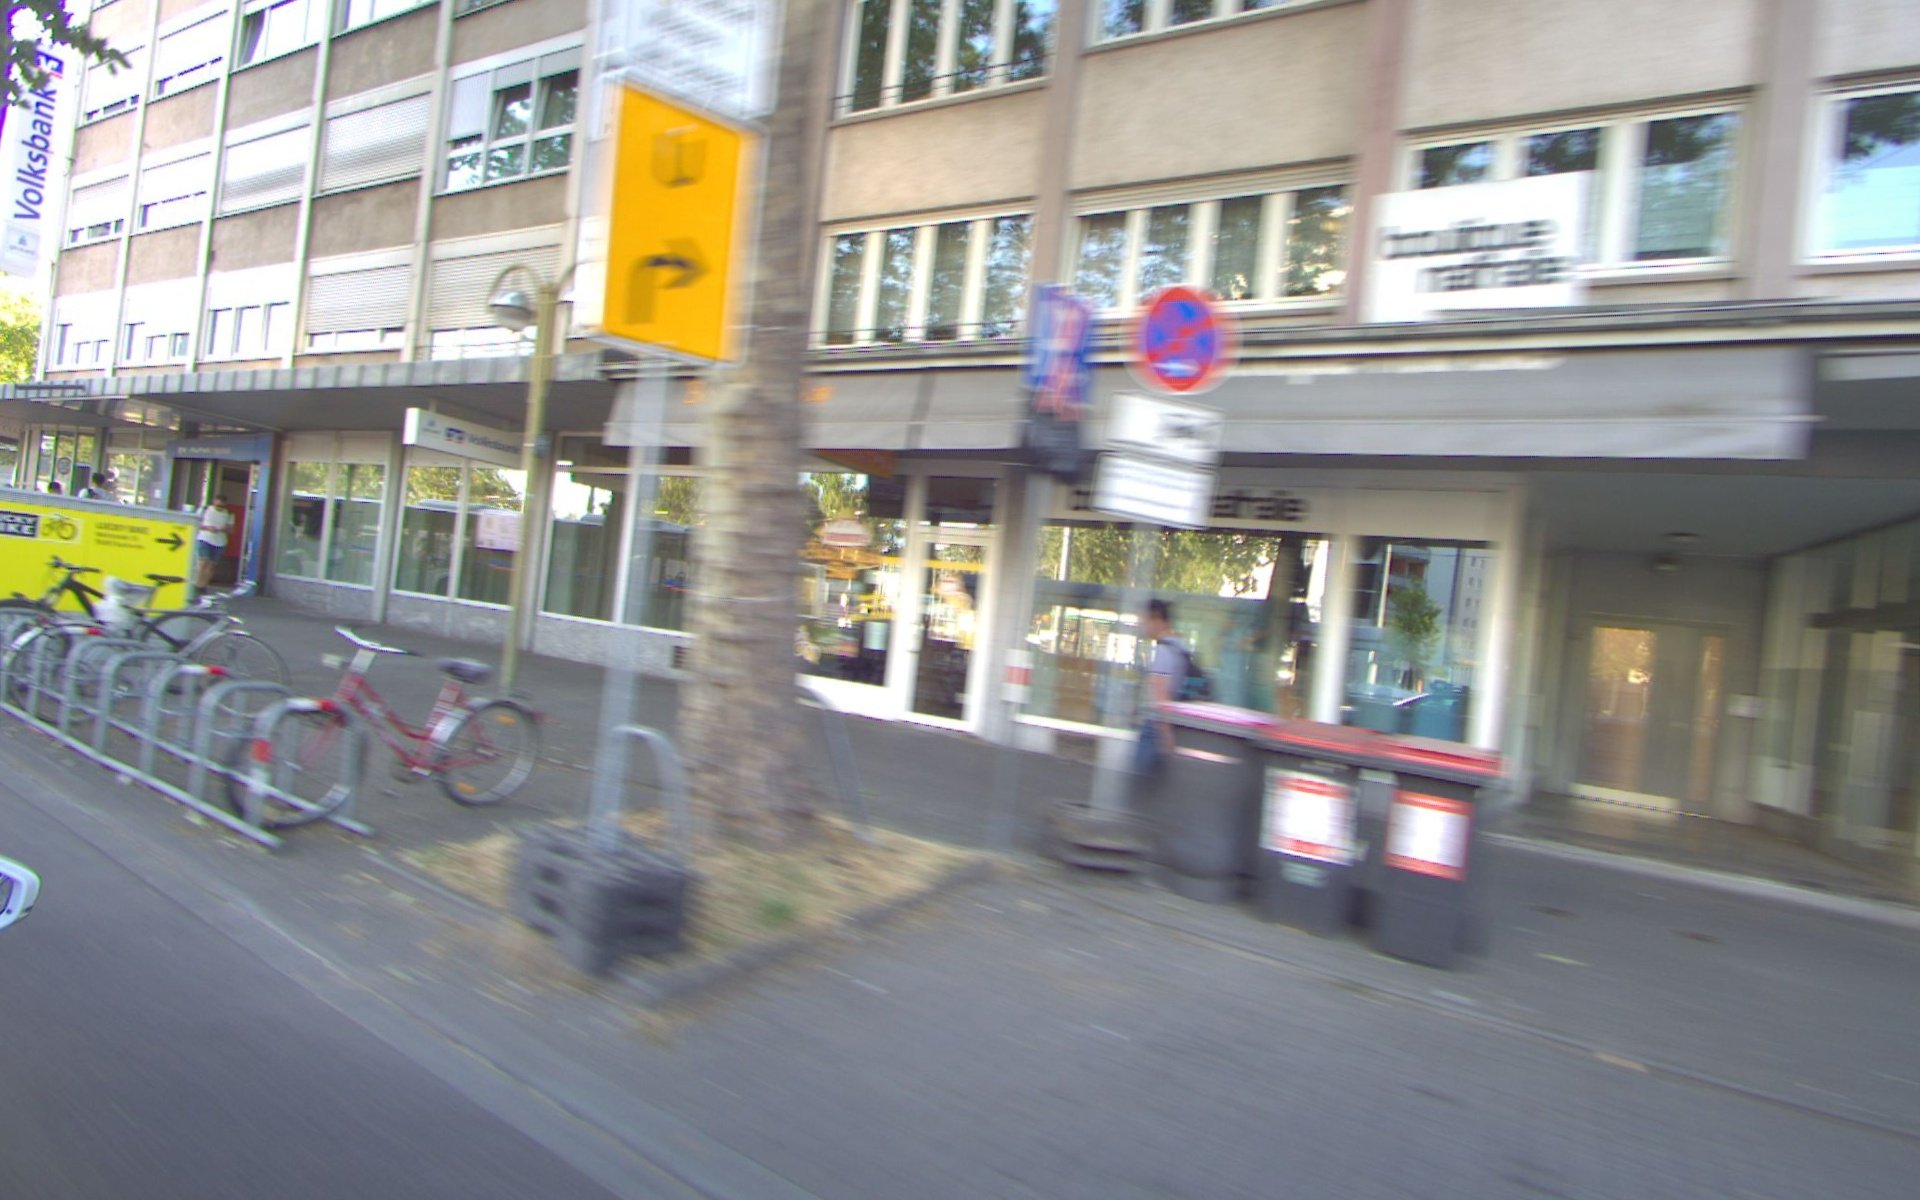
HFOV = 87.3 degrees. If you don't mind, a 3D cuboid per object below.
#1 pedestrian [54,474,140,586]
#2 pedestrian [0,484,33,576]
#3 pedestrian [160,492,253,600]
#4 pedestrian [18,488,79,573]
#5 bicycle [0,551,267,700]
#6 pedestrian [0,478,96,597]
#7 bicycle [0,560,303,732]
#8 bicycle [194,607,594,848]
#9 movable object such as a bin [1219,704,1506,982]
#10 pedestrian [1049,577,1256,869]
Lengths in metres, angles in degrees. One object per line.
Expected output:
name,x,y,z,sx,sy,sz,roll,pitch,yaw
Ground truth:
pedestrian,-15.592,-1.260,18.172,1.081,1.896,0.838,7,4,29
pedestrian,-18.566,-1.380,19.553,0.667,1.731,0.583,7,3,29
pedestrian,-12.779,-0.908,17.060,1.052,1.721,0.899,7,5,30
pedestrian,-18.308,-1.386,20.209,0.761,1.594,0.633,7,3,29
bicycle,-7.021,0.214,8.274,0.757,1.071,1.991,6,0,27
pedestrian,-14.511,-0.982,15.921,1.052,1.733,0.900,7,2,29
bicycle,-5.949,0.341,7.382,0.633,1.071,1.715,7,0,31
bicycle,-2.974,0.631,5.514,0.633,1.035,1.792,7,0,27
movable object such as a bin,2.097,1.189,5.247,1.207,1.089,0.674,7,2,30
pedestrian,1.291,0.764,6.692,0.973,1.695,0.844,7,1,29
